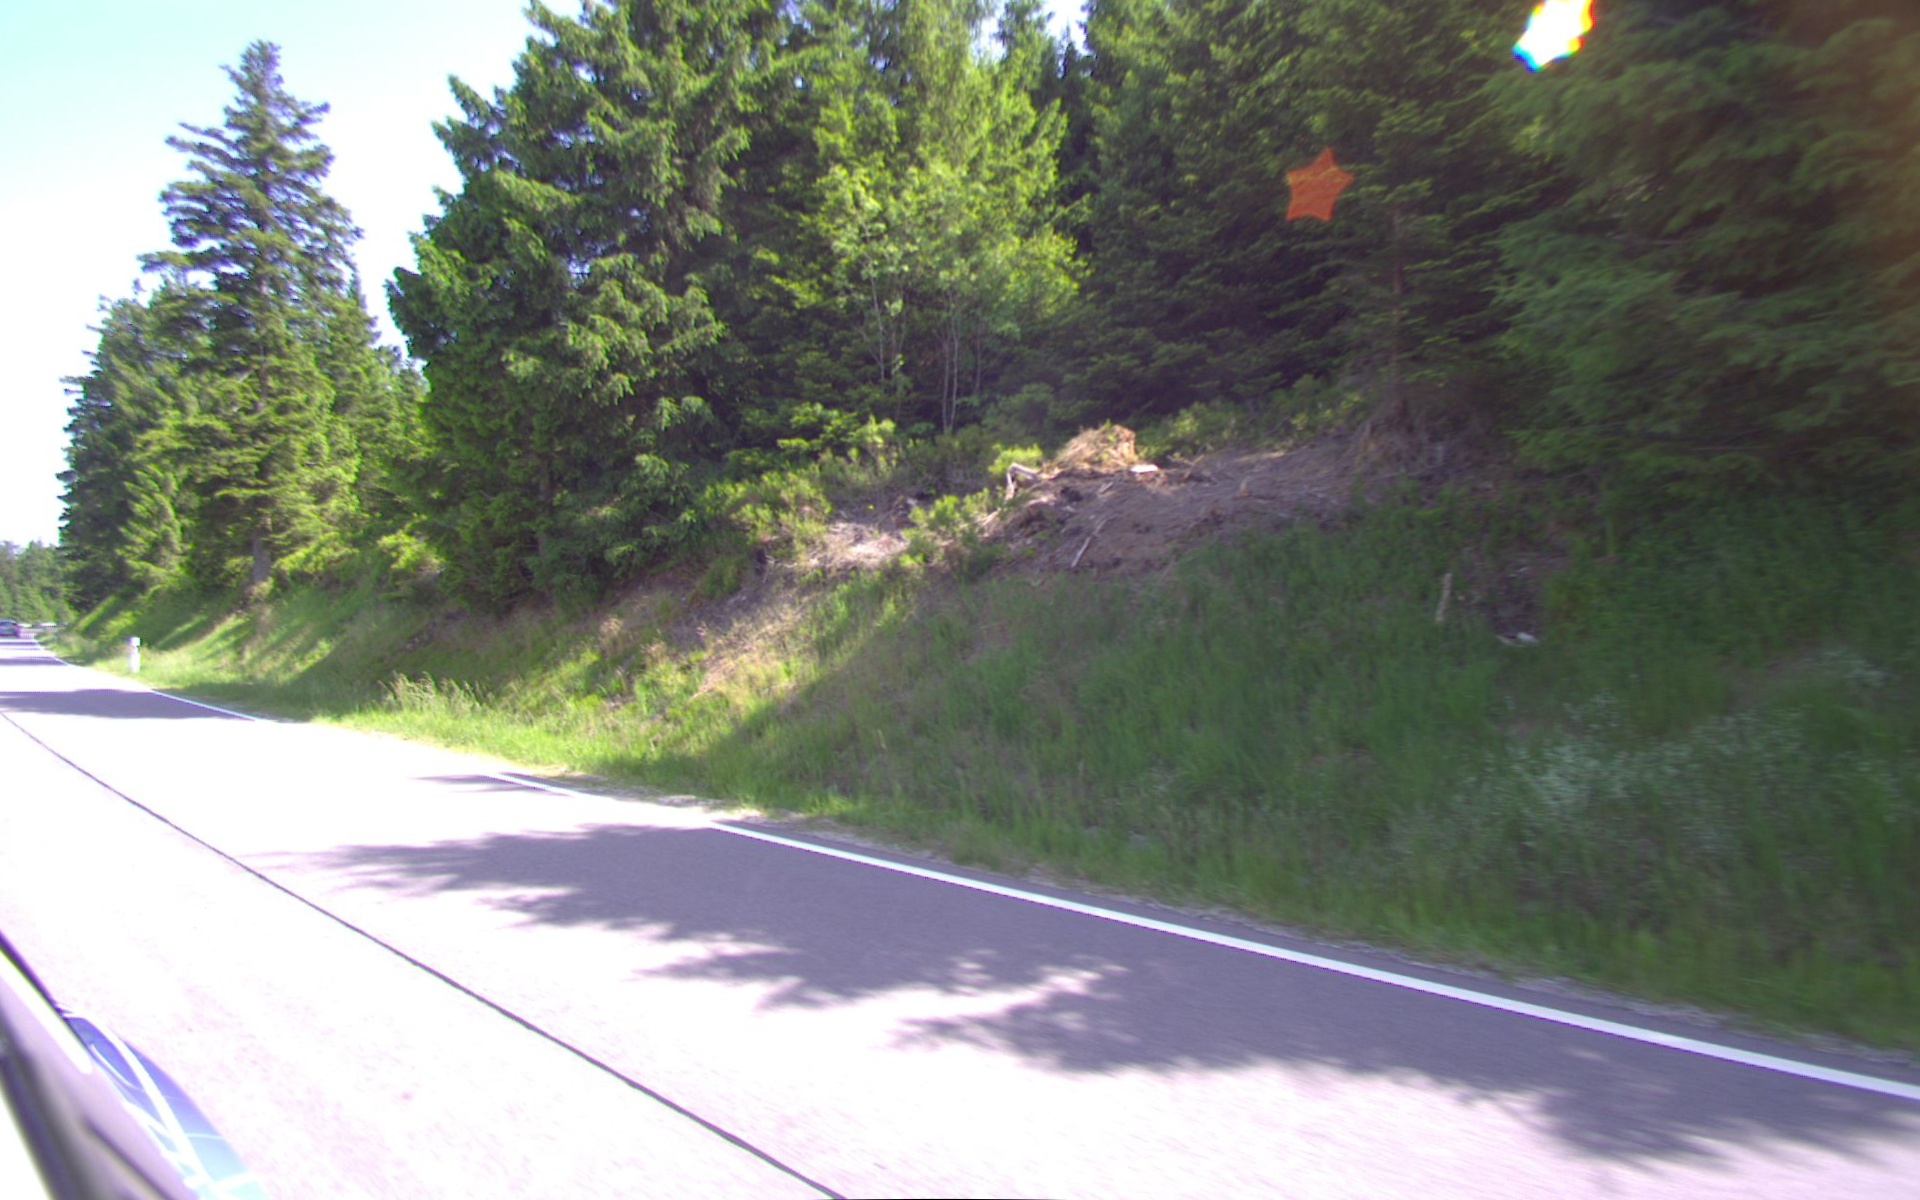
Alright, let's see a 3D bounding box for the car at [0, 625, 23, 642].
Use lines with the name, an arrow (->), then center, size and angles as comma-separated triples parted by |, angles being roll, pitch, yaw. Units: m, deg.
car -> -80.201, 2.832, 85.219 | 3.263, 1.425, 1.666 | -2, -3, 44
